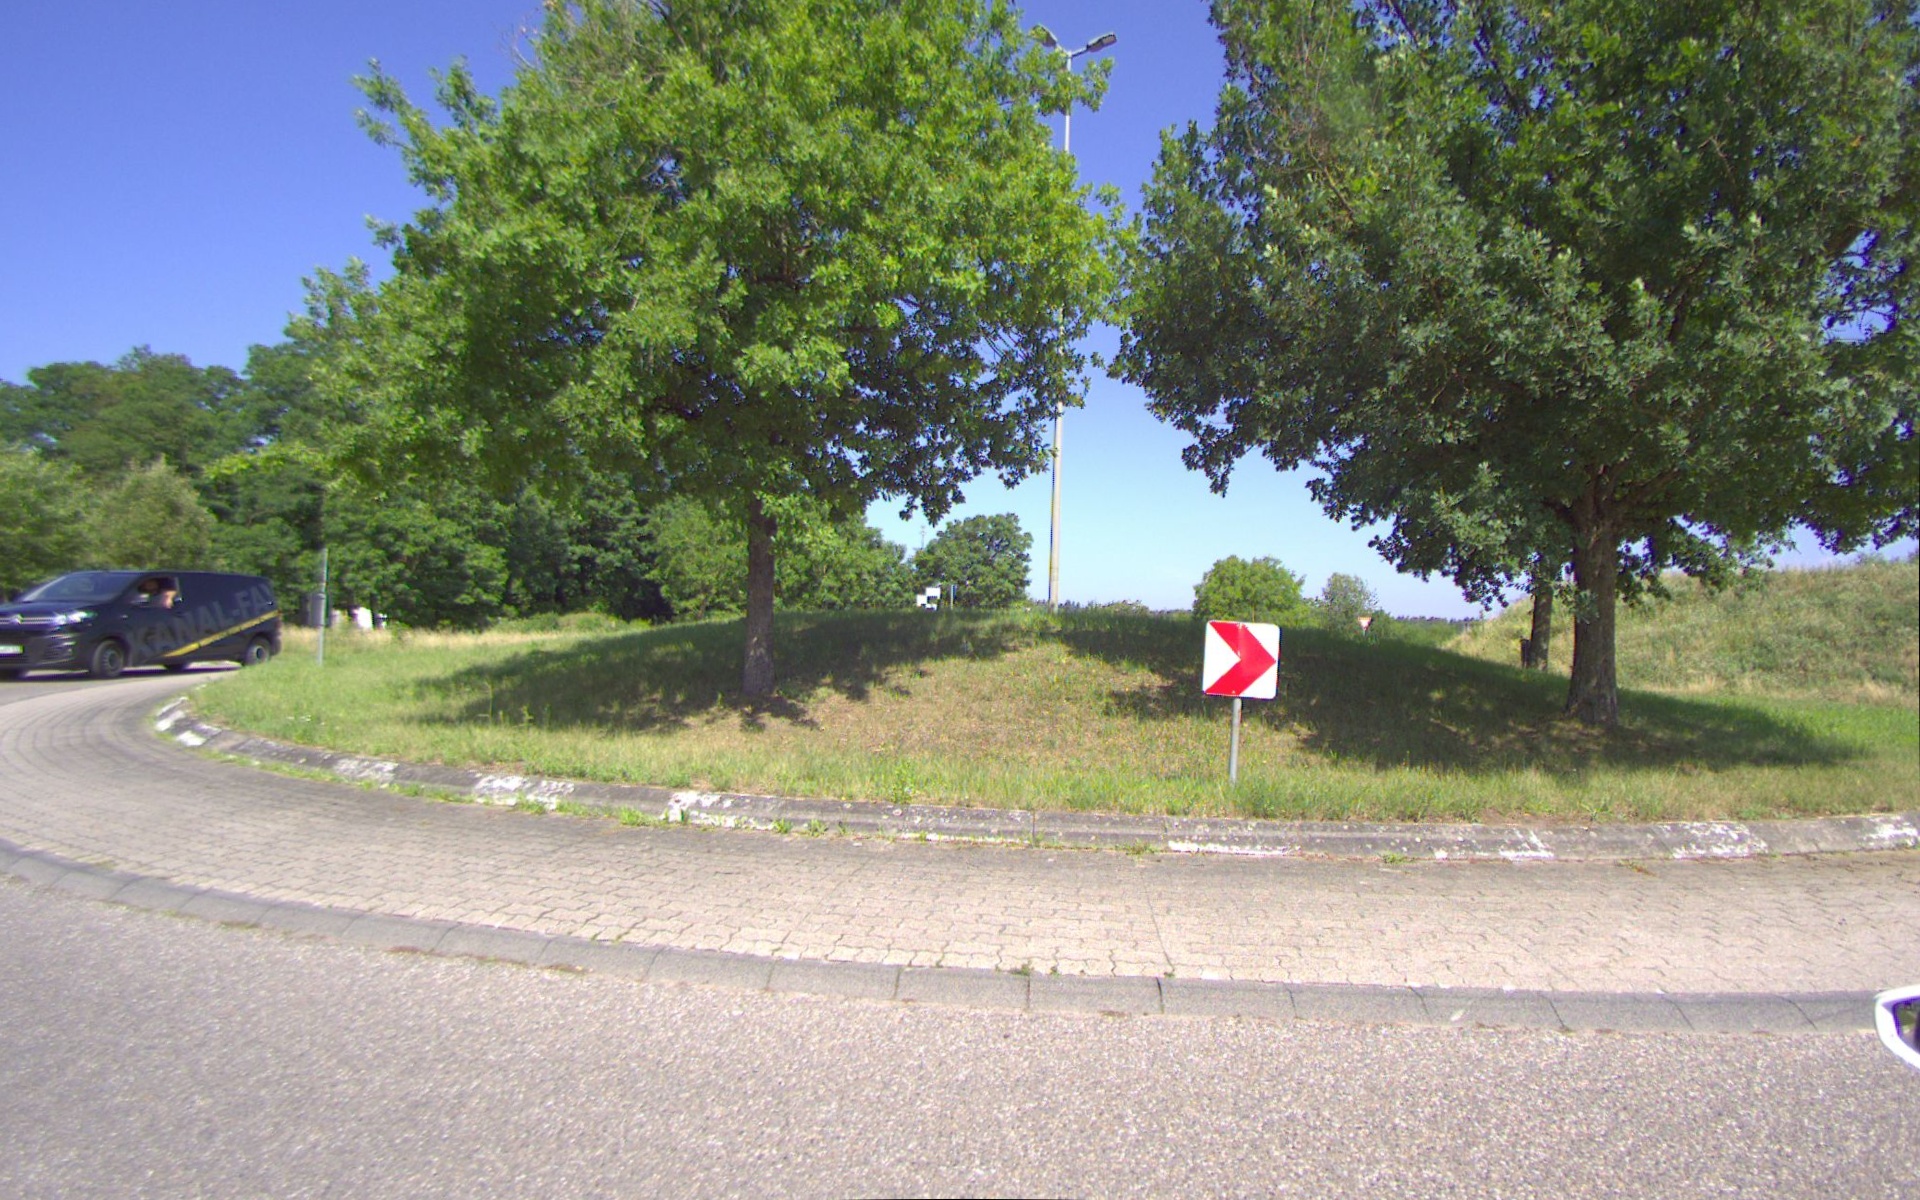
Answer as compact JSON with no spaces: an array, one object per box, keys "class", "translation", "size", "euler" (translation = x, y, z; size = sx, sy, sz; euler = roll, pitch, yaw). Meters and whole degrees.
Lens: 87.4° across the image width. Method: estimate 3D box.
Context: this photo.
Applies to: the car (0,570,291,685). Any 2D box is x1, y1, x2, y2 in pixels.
[{"class":"car","translation":[-14.658,0.465,17.871],"size":[2.059,1.737,4.721],"euler":[2,-1,5]}]
